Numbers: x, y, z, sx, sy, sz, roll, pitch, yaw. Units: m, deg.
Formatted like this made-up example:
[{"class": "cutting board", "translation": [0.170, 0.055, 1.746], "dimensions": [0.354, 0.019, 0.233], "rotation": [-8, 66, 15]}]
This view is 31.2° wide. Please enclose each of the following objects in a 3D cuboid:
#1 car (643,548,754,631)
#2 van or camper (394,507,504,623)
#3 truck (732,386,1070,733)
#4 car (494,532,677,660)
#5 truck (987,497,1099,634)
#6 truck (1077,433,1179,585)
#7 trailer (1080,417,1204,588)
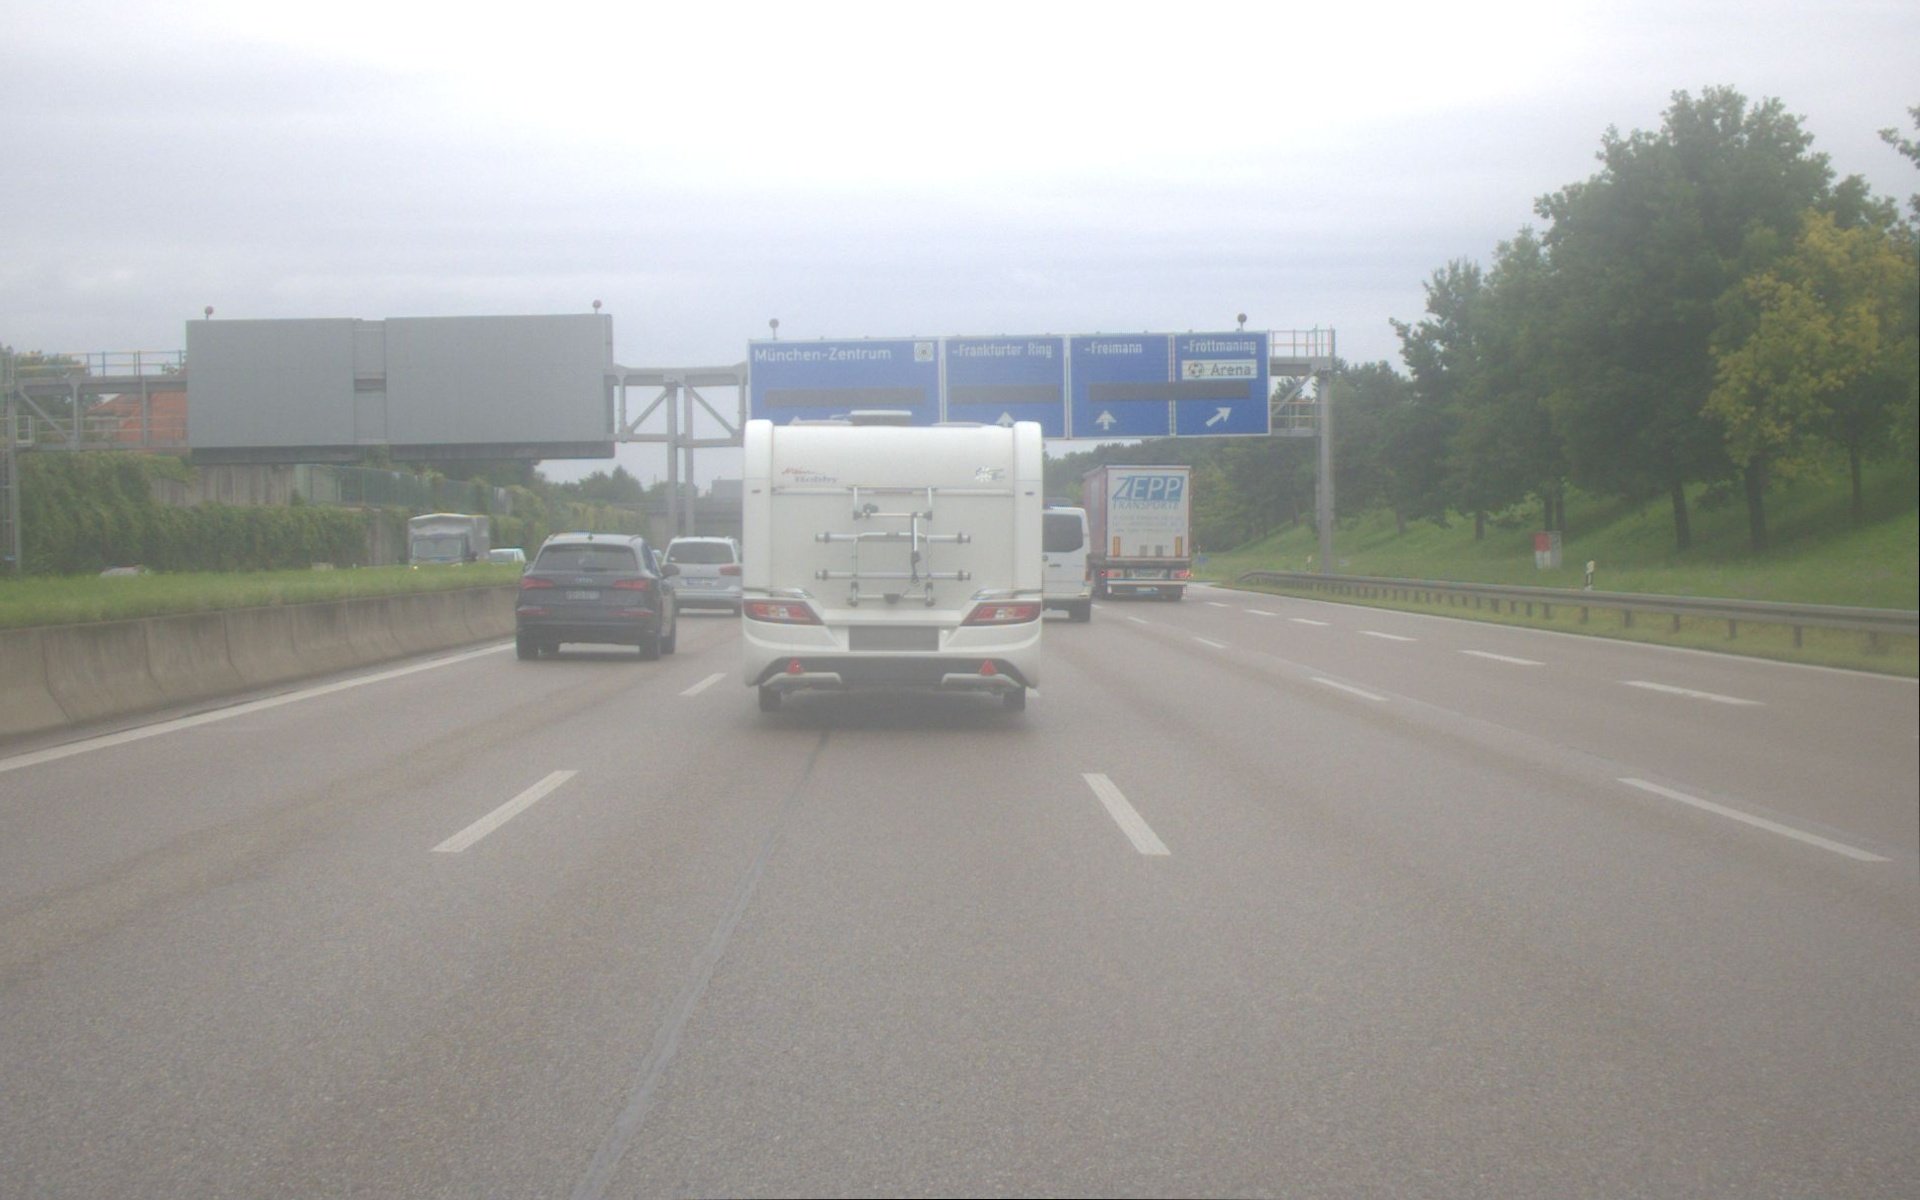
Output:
[{"class": "car", "translation": [-5.604, -0.243, 74.198], "dimensions": [2.127, 1.700, 4.113], "rotation": [2, 1, -1]}, {"class": "van or camper", "translation": [-18.067, -1.254, 121.992], "dimensions": [2.708, 3.935, 8.402], "rotation": [1, 1, -1]}, {"class": "truck", "translation": [-0.529, -0.349, 30.079], "dimensions": [2.661, 2.733, 5.078], "rotation": [1, 1, -1]}, {"class": "car", "translation": [-4.980, -0.077, 46.298], "dimensions": [1.993, 1.594, 5.124], "rotation": [1, 1, -1]}, {"class": "truck", "translation": [1.706, -0.730, 72.658], "dimensions": [2.053, 2.760, 5.549], "rotation": [1, 1, -1]}, {"class": "truck", "translation": [5.509, -2.952, 113.484], "dimensions": [3.048, 4.823, 5.850], "rotation": [1, 1, 0]}, {"class": "trailer", "translation": [5.485, -2.877, 105.615], "dimensions": [3.100, 4.905, 11.790], "rotation": [1, 1, 0]}]
